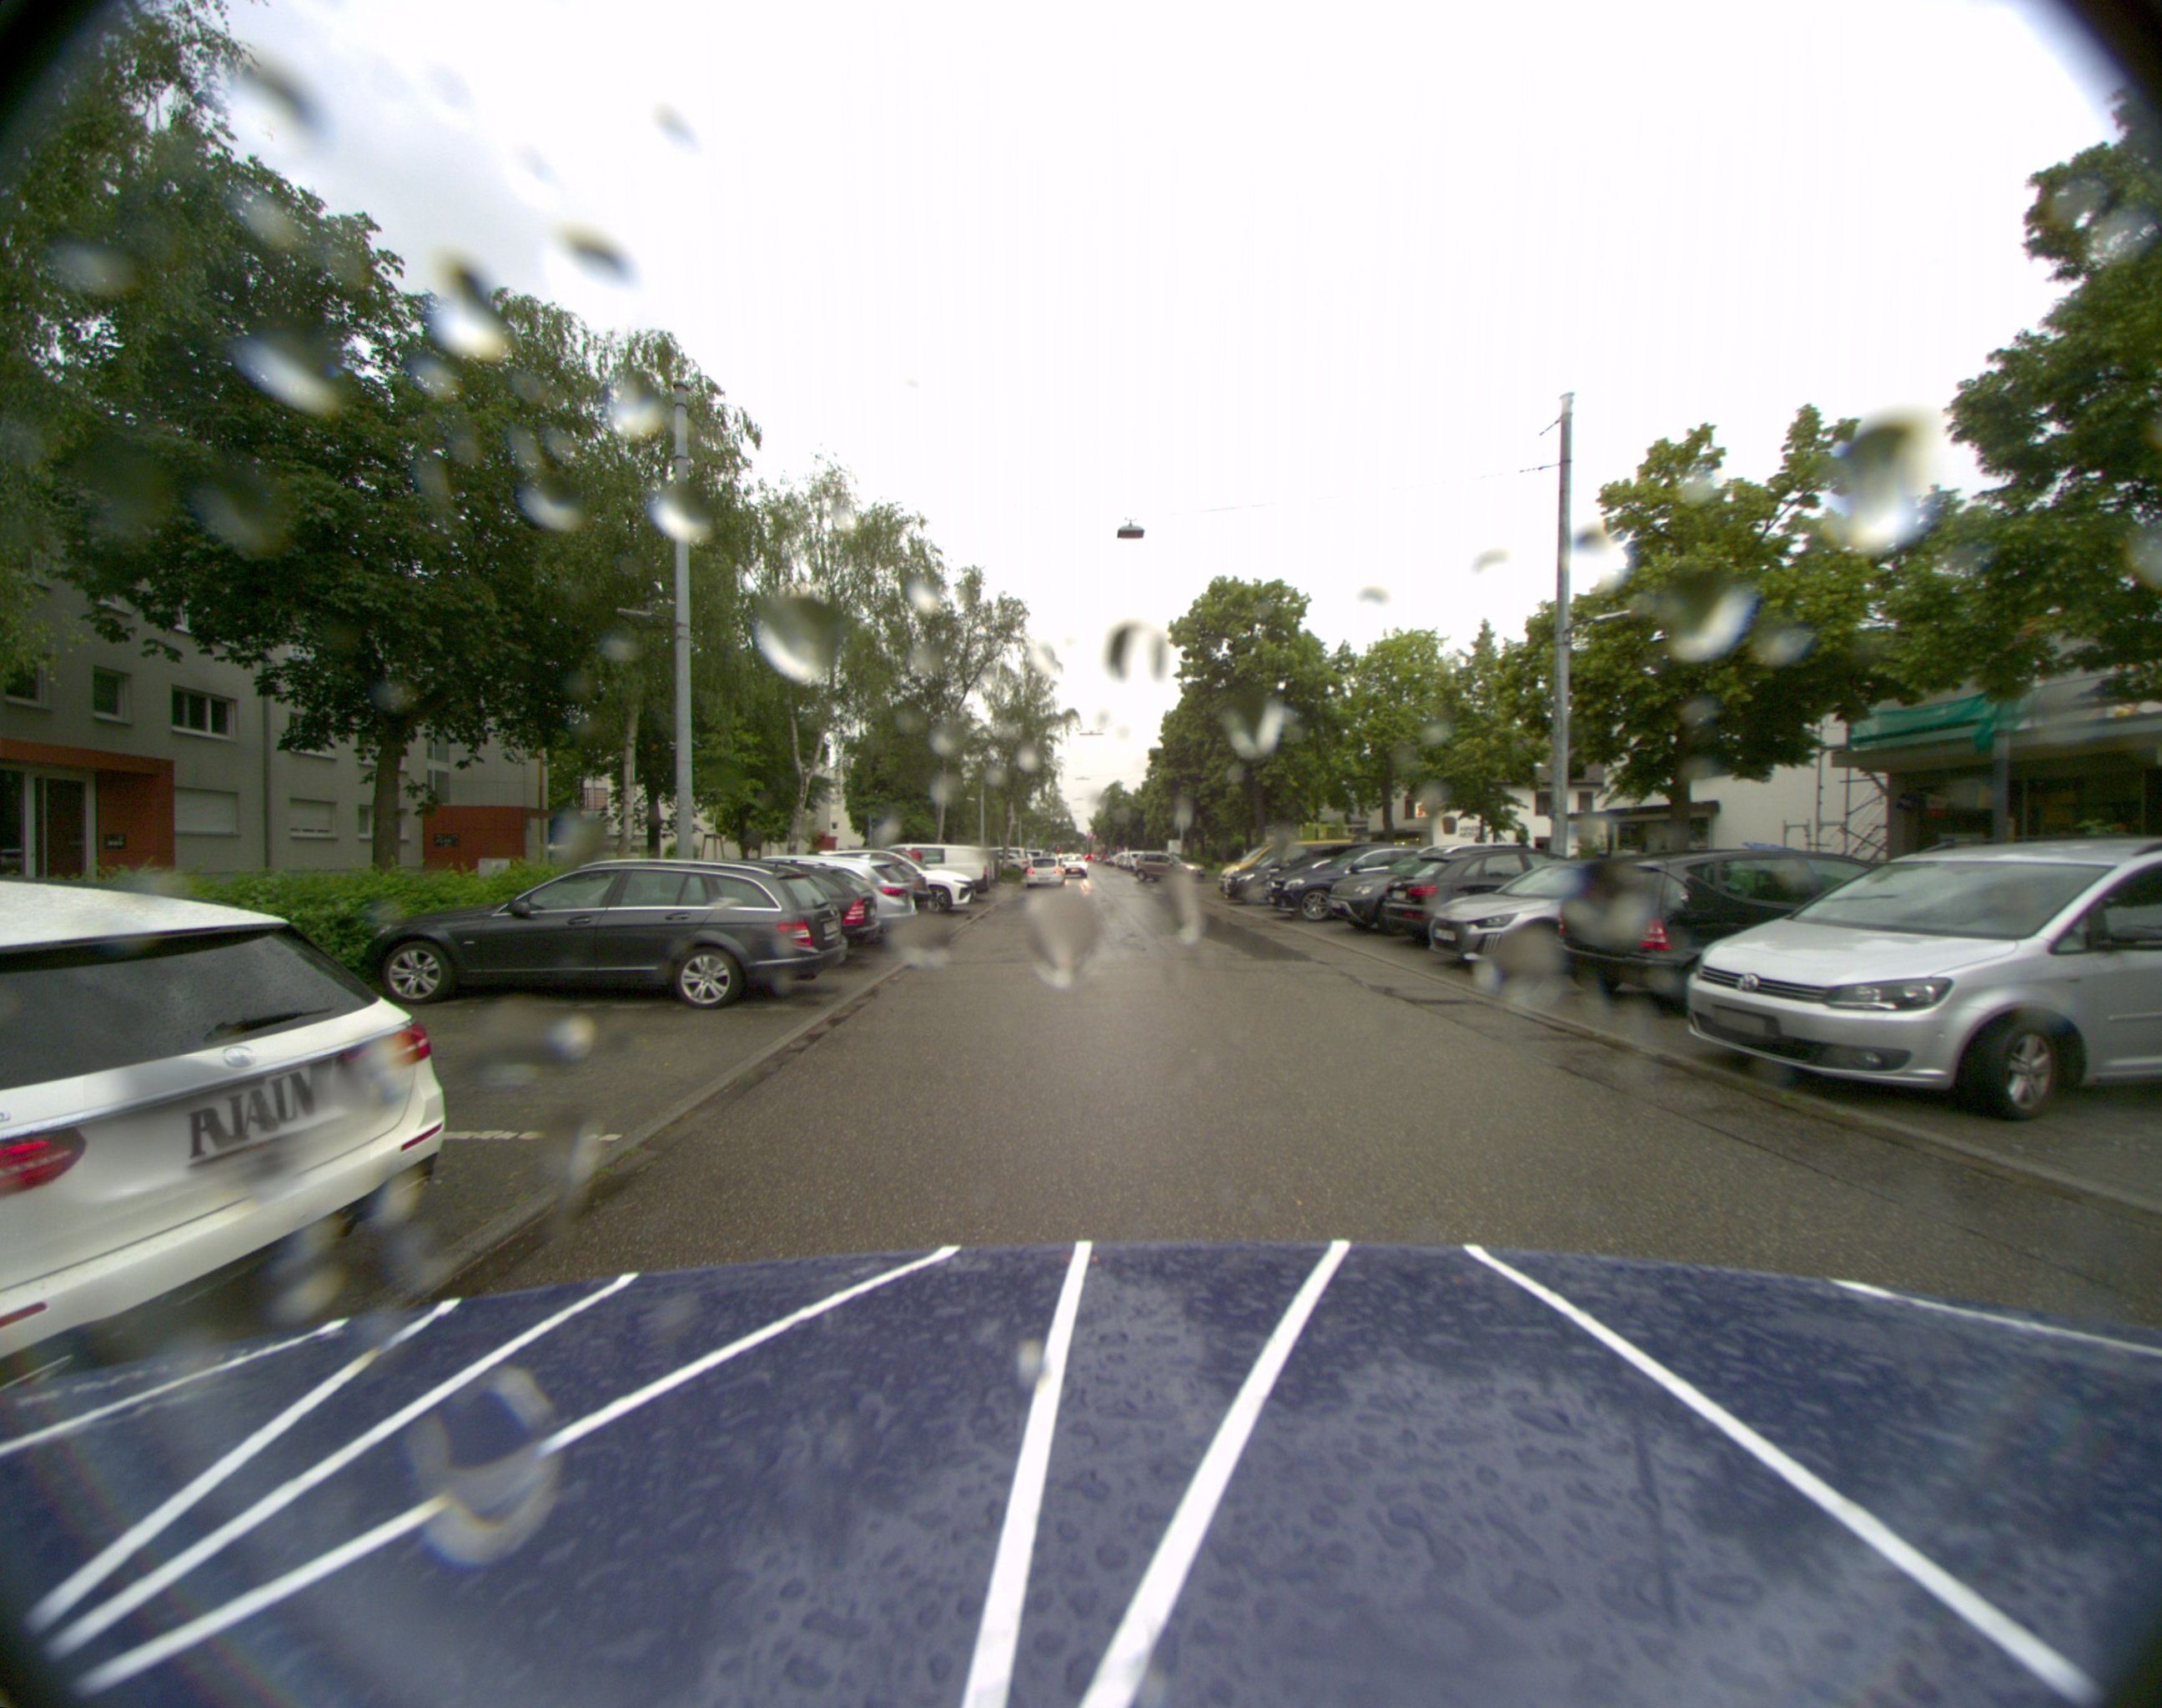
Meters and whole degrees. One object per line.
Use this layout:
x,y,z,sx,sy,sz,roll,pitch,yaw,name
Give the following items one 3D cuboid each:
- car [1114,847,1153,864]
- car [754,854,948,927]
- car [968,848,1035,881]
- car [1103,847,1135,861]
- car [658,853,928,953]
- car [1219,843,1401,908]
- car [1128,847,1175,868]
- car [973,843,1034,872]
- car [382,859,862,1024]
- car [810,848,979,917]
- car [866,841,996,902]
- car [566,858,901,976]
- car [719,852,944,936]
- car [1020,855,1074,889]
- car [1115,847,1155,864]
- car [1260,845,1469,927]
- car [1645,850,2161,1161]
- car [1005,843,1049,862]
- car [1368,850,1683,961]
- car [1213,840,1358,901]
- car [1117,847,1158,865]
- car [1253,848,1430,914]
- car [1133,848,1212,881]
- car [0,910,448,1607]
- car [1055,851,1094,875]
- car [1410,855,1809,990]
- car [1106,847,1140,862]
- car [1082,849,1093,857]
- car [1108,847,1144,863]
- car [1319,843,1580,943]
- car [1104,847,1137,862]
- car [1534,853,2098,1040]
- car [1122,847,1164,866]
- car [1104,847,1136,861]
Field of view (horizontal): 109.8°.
5.773,0.171,83.762,3.998,1.675,1.999,-2,1,-3,car
-5.293,0.828,17.878,4.049,1.488,1.680,2,1,-3,car
-5.119,0.675,49.295,3.995,1.902,1.902,-2,1,4,car
4.956,0.002,99.179,3.998,1.675,1.999,-2,1,-3,car
-4.868,0.812,13.292,4.049,1.488,1.680,2,1,-3,car
7.110,0.639,23.868,5.177,1.789,1.715,-2,1,-2,car
6.363,0.305,68.785,3.998,1.675,1.999,-2,1,-3,car
-5.482,0.238,54.147,3.995,1.902,1.902,-2,1,4,car
-4.621,0.862,8.127,4.049,1.431,1.680,2,1,-3,car
-5.045,0.747,20.907,4.179,1.609,1.680,3,1,1,car
-5.090,0.571,26.194,4.182,1.856,1.679,2,1,-6,car
-4.837,0.856,11.033,4.049,1.431,1.680,2,1,-3,car
-5.006,0.787,15.646,4.049,1.488,1.680,2,1,-3,car
-1.604,0.835,37.454,1.997,1.446,4.259,-2,1,6,car
5.760,0.168,81.124,3.998,1.675,1.999,-2,1,-3,car
6.593,0.713,17.953,4.283,1.717,1.715,-2,1,-2,car
6.623,0.849,5.212,4.283,1.625,1.715,-2,1,-2,car
-5.298,-0.172,75.039,3.995,1.670,1.902,-2,1,4,car
7.263,0.793,12.684,4.283,1.586,1.715,-2,1,-2,car
7.179,0.559,26.933,4.657,1.947,1.715,-2,1,-2,car
5.803,0.200,78.480,3.998,1.675,1.999,-2,1,-3,car
7.145,0.720,21.091,4.283,1.617,1.715,-2,1,-2,car
5.057,0.563,42.270,3.988,1.677,1.844,0,2,38,car
-4.753,0.918,2.068,4.623,1.431,1.680,2,1,0,car
-0.497,0.569,51.238,1.735,1.519,4.134,-1,1,-14,car
6.985,0.847,10.323,4.283,1.523,1.715,-2,1,-2,car
5.205,0.054,94.424,3.998,1.675,1.999,-2,1,-3,car
1.244,-0.214,148.375,1.999,1.617,3.999,-2,1,-1,car
5.322,0.103,90.318,3.998,1.675,1.999,-2,1,-3,car
7.082,0.708,14.868,4.283,1.717,1.715,-2,1,-2,car
5.013,0.029,96.946,3.998,1.675,1.999,-2,1,-3,car
7.253,0.839,7.773,4.283,1.556,1.635,-2,1,-2,car
6.183,0.218,76.033,3.998,1.675,1.999,-2,1,-3,car
5.189,-0.045,101.620,3.998,1.675,1.999,-2,1,-3,car
